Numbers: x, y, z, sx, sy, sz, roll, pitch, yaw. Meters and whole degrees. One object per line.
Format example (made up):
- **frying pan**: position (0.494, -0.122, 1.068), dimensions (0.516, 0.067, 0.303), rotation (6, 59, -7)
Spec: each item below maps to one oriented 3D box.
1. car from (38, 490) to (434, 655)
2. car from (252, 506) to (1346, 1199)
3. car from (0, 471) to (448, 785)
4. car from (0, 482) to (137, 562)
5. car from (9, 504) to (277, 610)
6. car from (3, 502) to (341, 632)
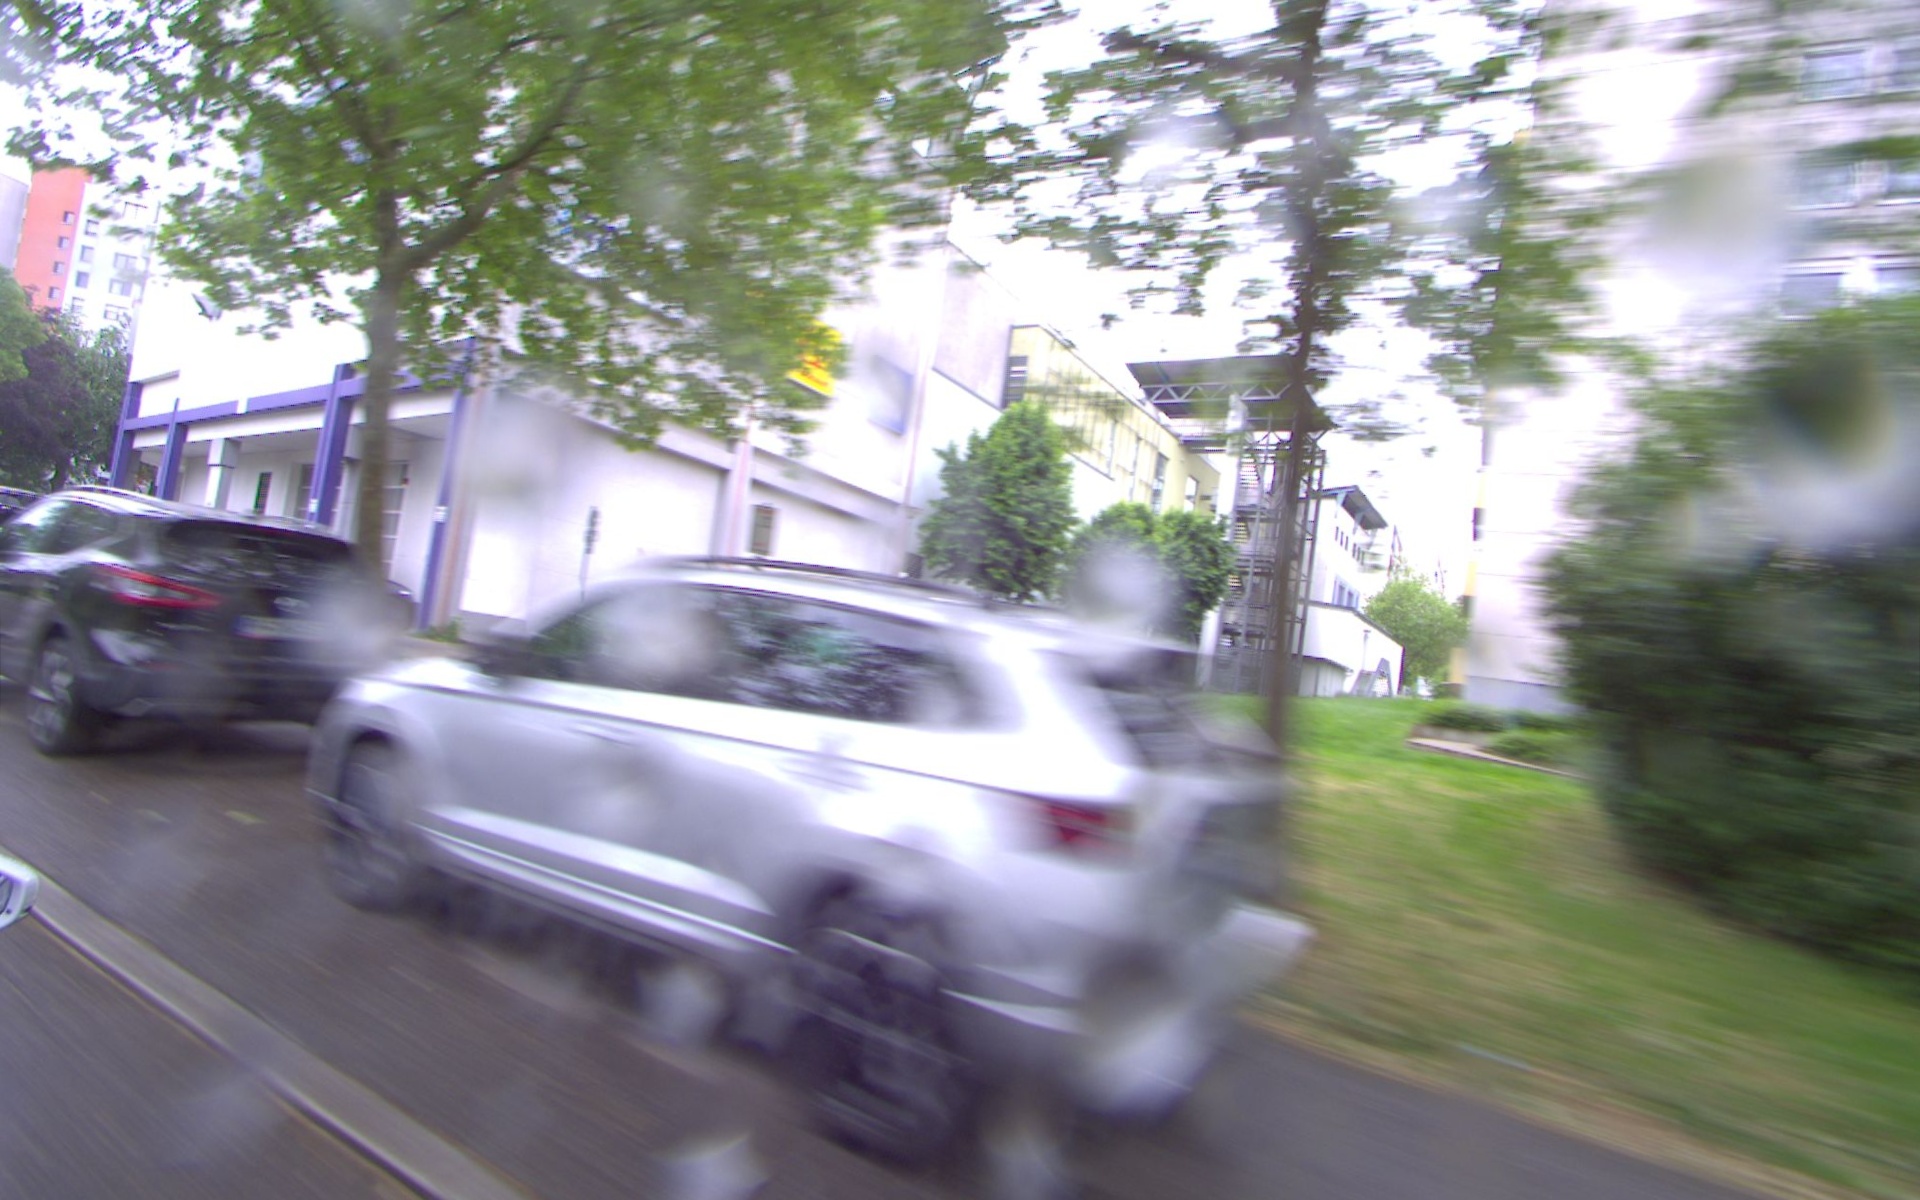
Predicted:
- **car**: position (-10.877, -0.317, 15.502), dimensions (1.739, 1.698, 4.481), rotation (8, -3, 33)
- **car**: position (-0.856, 0.656, 4.131), dimensions (4.182, 1.610, 1.731), rotation (6, -2, 32)
- **car**: position (-5.847, 0.073, 7.216), dimensions (4.300, 1.620, 1.805), rotation (6, -2, 33)
- **car**: position (-28.865, -2.560, 31.460), dimensions (1.801, 1.777, 4.386), rotation (9, -4, 38)
- **car**: position (-16.836, -0.844, 20.888), dimensions (1.696, 1.468, 3.941), rotation (6, -4, 39)
- **car**: position (-13.291, -0.492, 17.242), dimensions (1.694, 1.494, 4.116), rotation (5, -5, 33)
